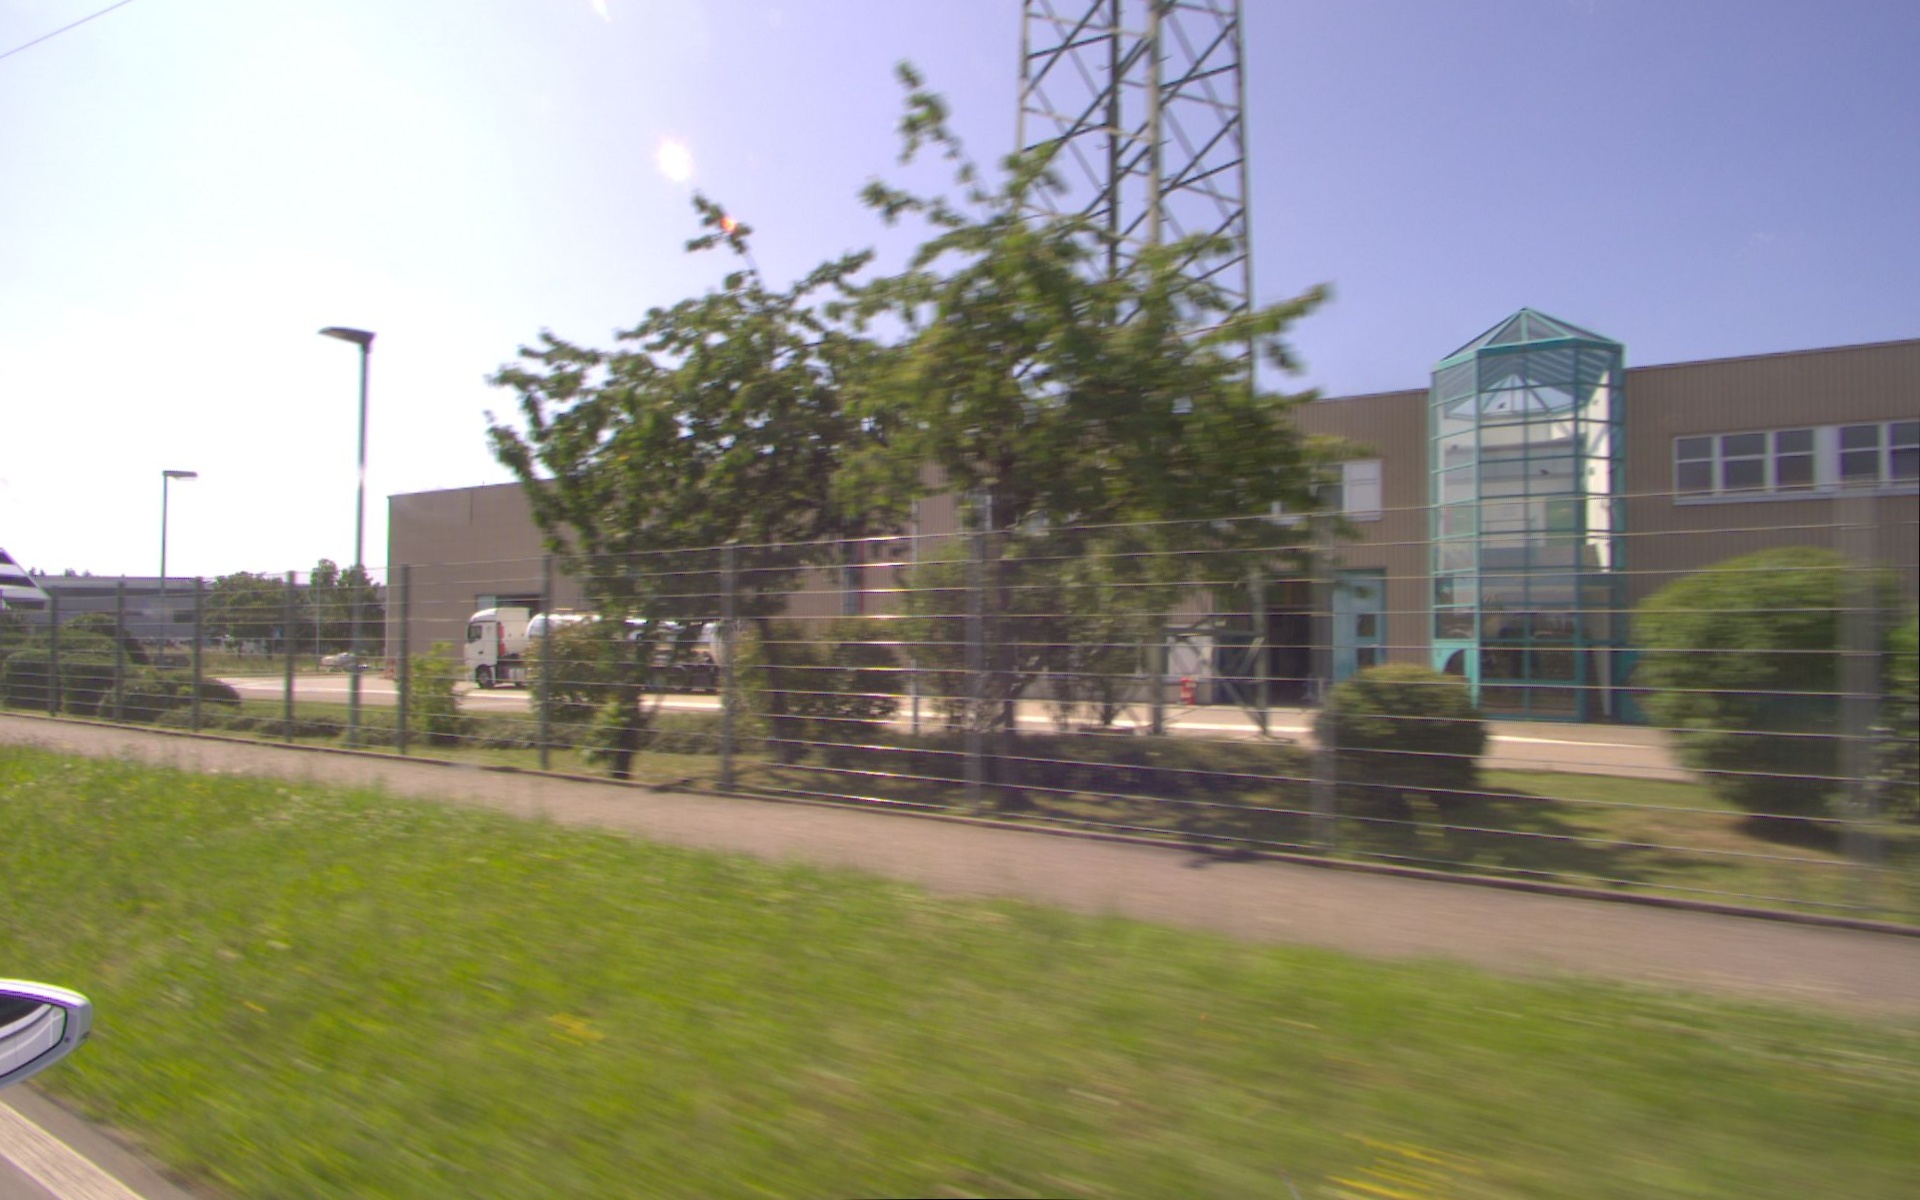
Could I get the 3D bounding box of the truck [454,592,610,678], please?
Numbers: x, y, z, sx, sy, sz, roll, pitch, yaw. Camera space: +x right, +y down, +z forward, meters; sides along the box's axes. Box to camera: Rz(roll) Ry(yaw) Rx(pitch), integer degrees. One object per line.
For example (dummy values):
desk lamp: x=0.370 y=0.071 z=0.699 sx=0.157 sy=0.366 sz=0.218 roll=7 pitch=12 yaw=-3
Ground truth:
truck: x=-20.642 y=1.672 z=48.354 sx=6.302 sy=3.917 sz=3.596 roll=0 pitch=-1 yaw=24

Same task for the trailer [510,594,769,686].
trailer: x=-14.667 y=1.736 z=45.409 sx=12.040 sy=3.783 sz=3.591 roll=0 pitch=-1 yaw=26
